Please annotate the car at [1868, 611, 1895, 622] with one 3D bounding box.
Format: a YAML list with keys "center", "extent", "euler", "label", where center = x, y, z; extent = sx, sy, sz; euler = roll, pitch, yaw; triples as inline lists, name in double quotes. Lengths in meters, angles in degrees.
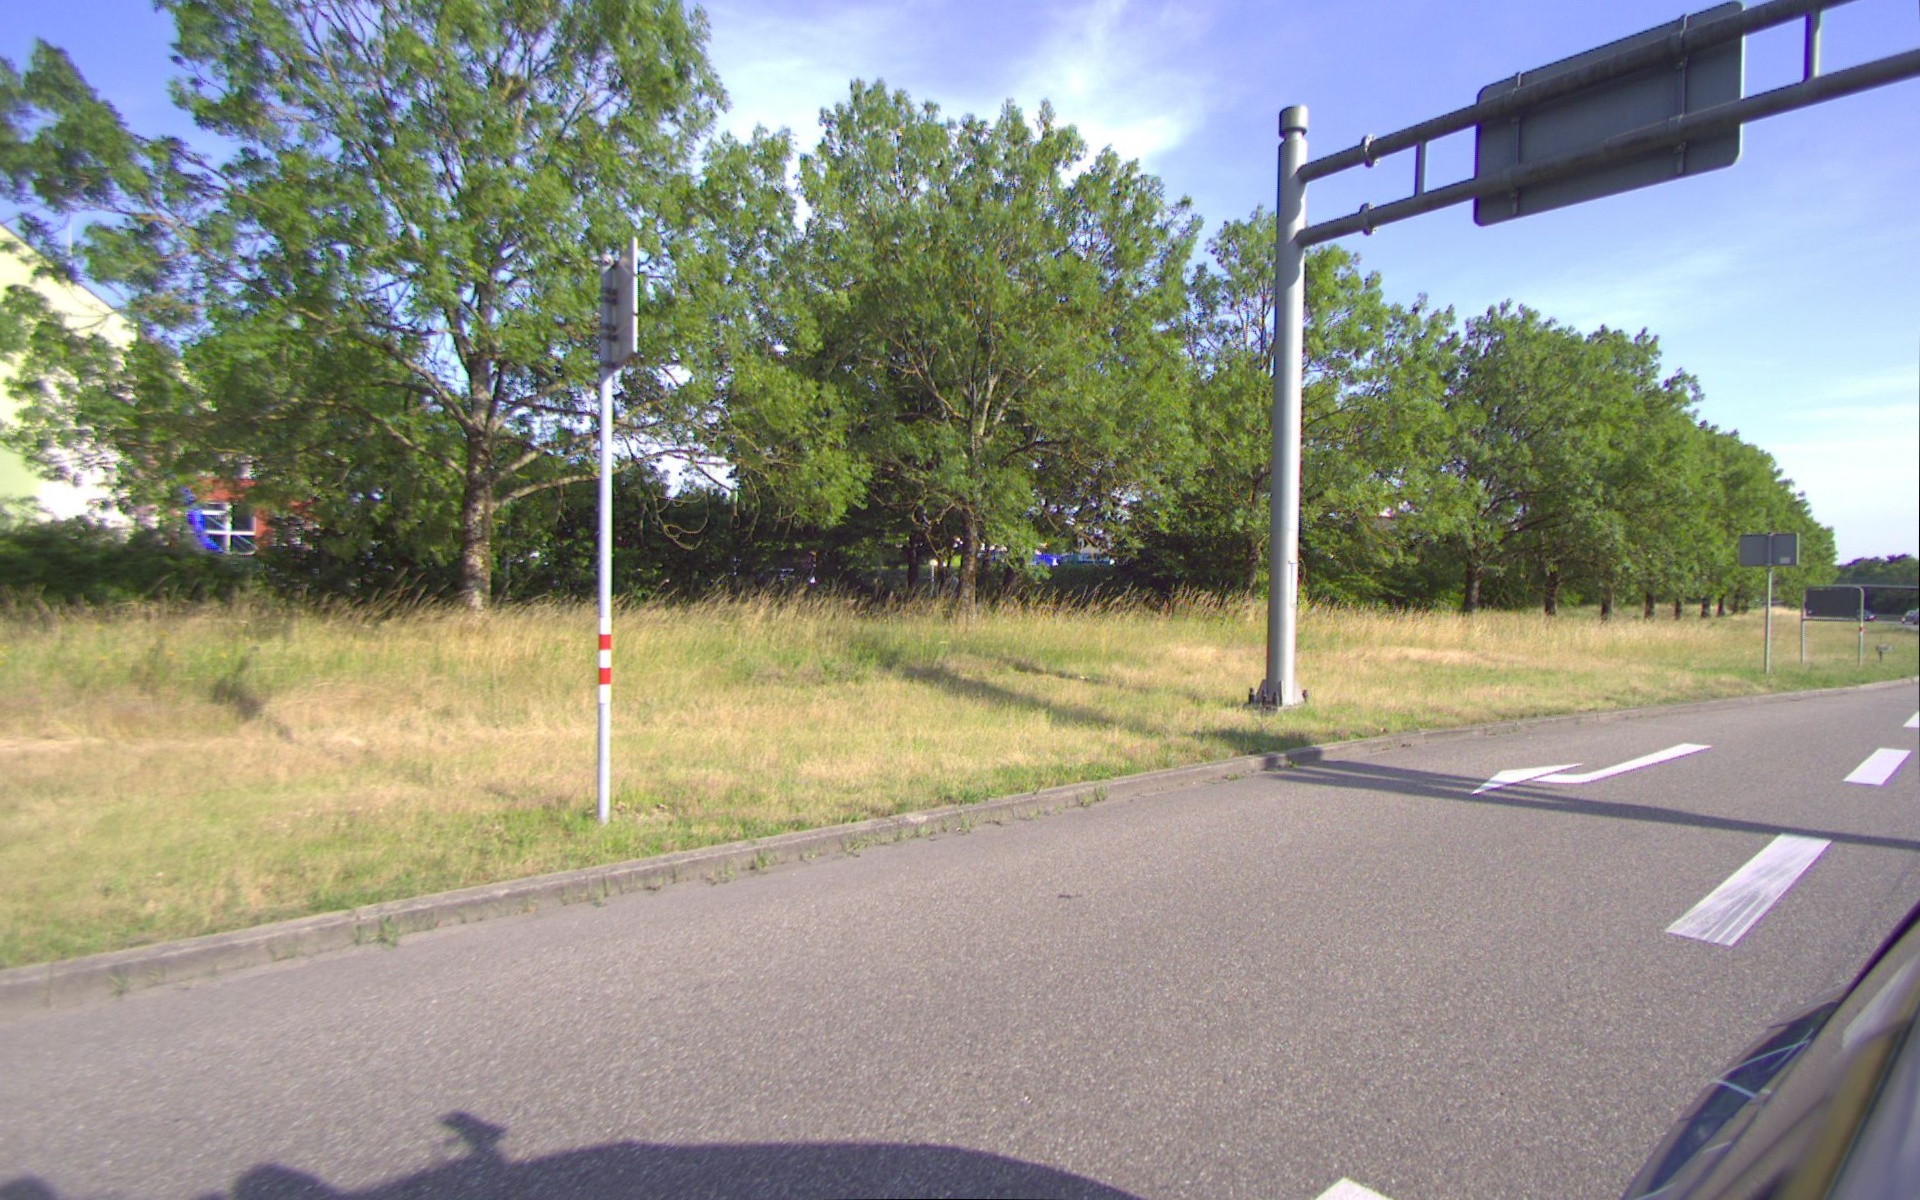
- center: [114.145, 2.019, 125.393]
  extent: [1.890, 1.403, 4.302]
  euler: [0, 0, 34]
  label: "car"
